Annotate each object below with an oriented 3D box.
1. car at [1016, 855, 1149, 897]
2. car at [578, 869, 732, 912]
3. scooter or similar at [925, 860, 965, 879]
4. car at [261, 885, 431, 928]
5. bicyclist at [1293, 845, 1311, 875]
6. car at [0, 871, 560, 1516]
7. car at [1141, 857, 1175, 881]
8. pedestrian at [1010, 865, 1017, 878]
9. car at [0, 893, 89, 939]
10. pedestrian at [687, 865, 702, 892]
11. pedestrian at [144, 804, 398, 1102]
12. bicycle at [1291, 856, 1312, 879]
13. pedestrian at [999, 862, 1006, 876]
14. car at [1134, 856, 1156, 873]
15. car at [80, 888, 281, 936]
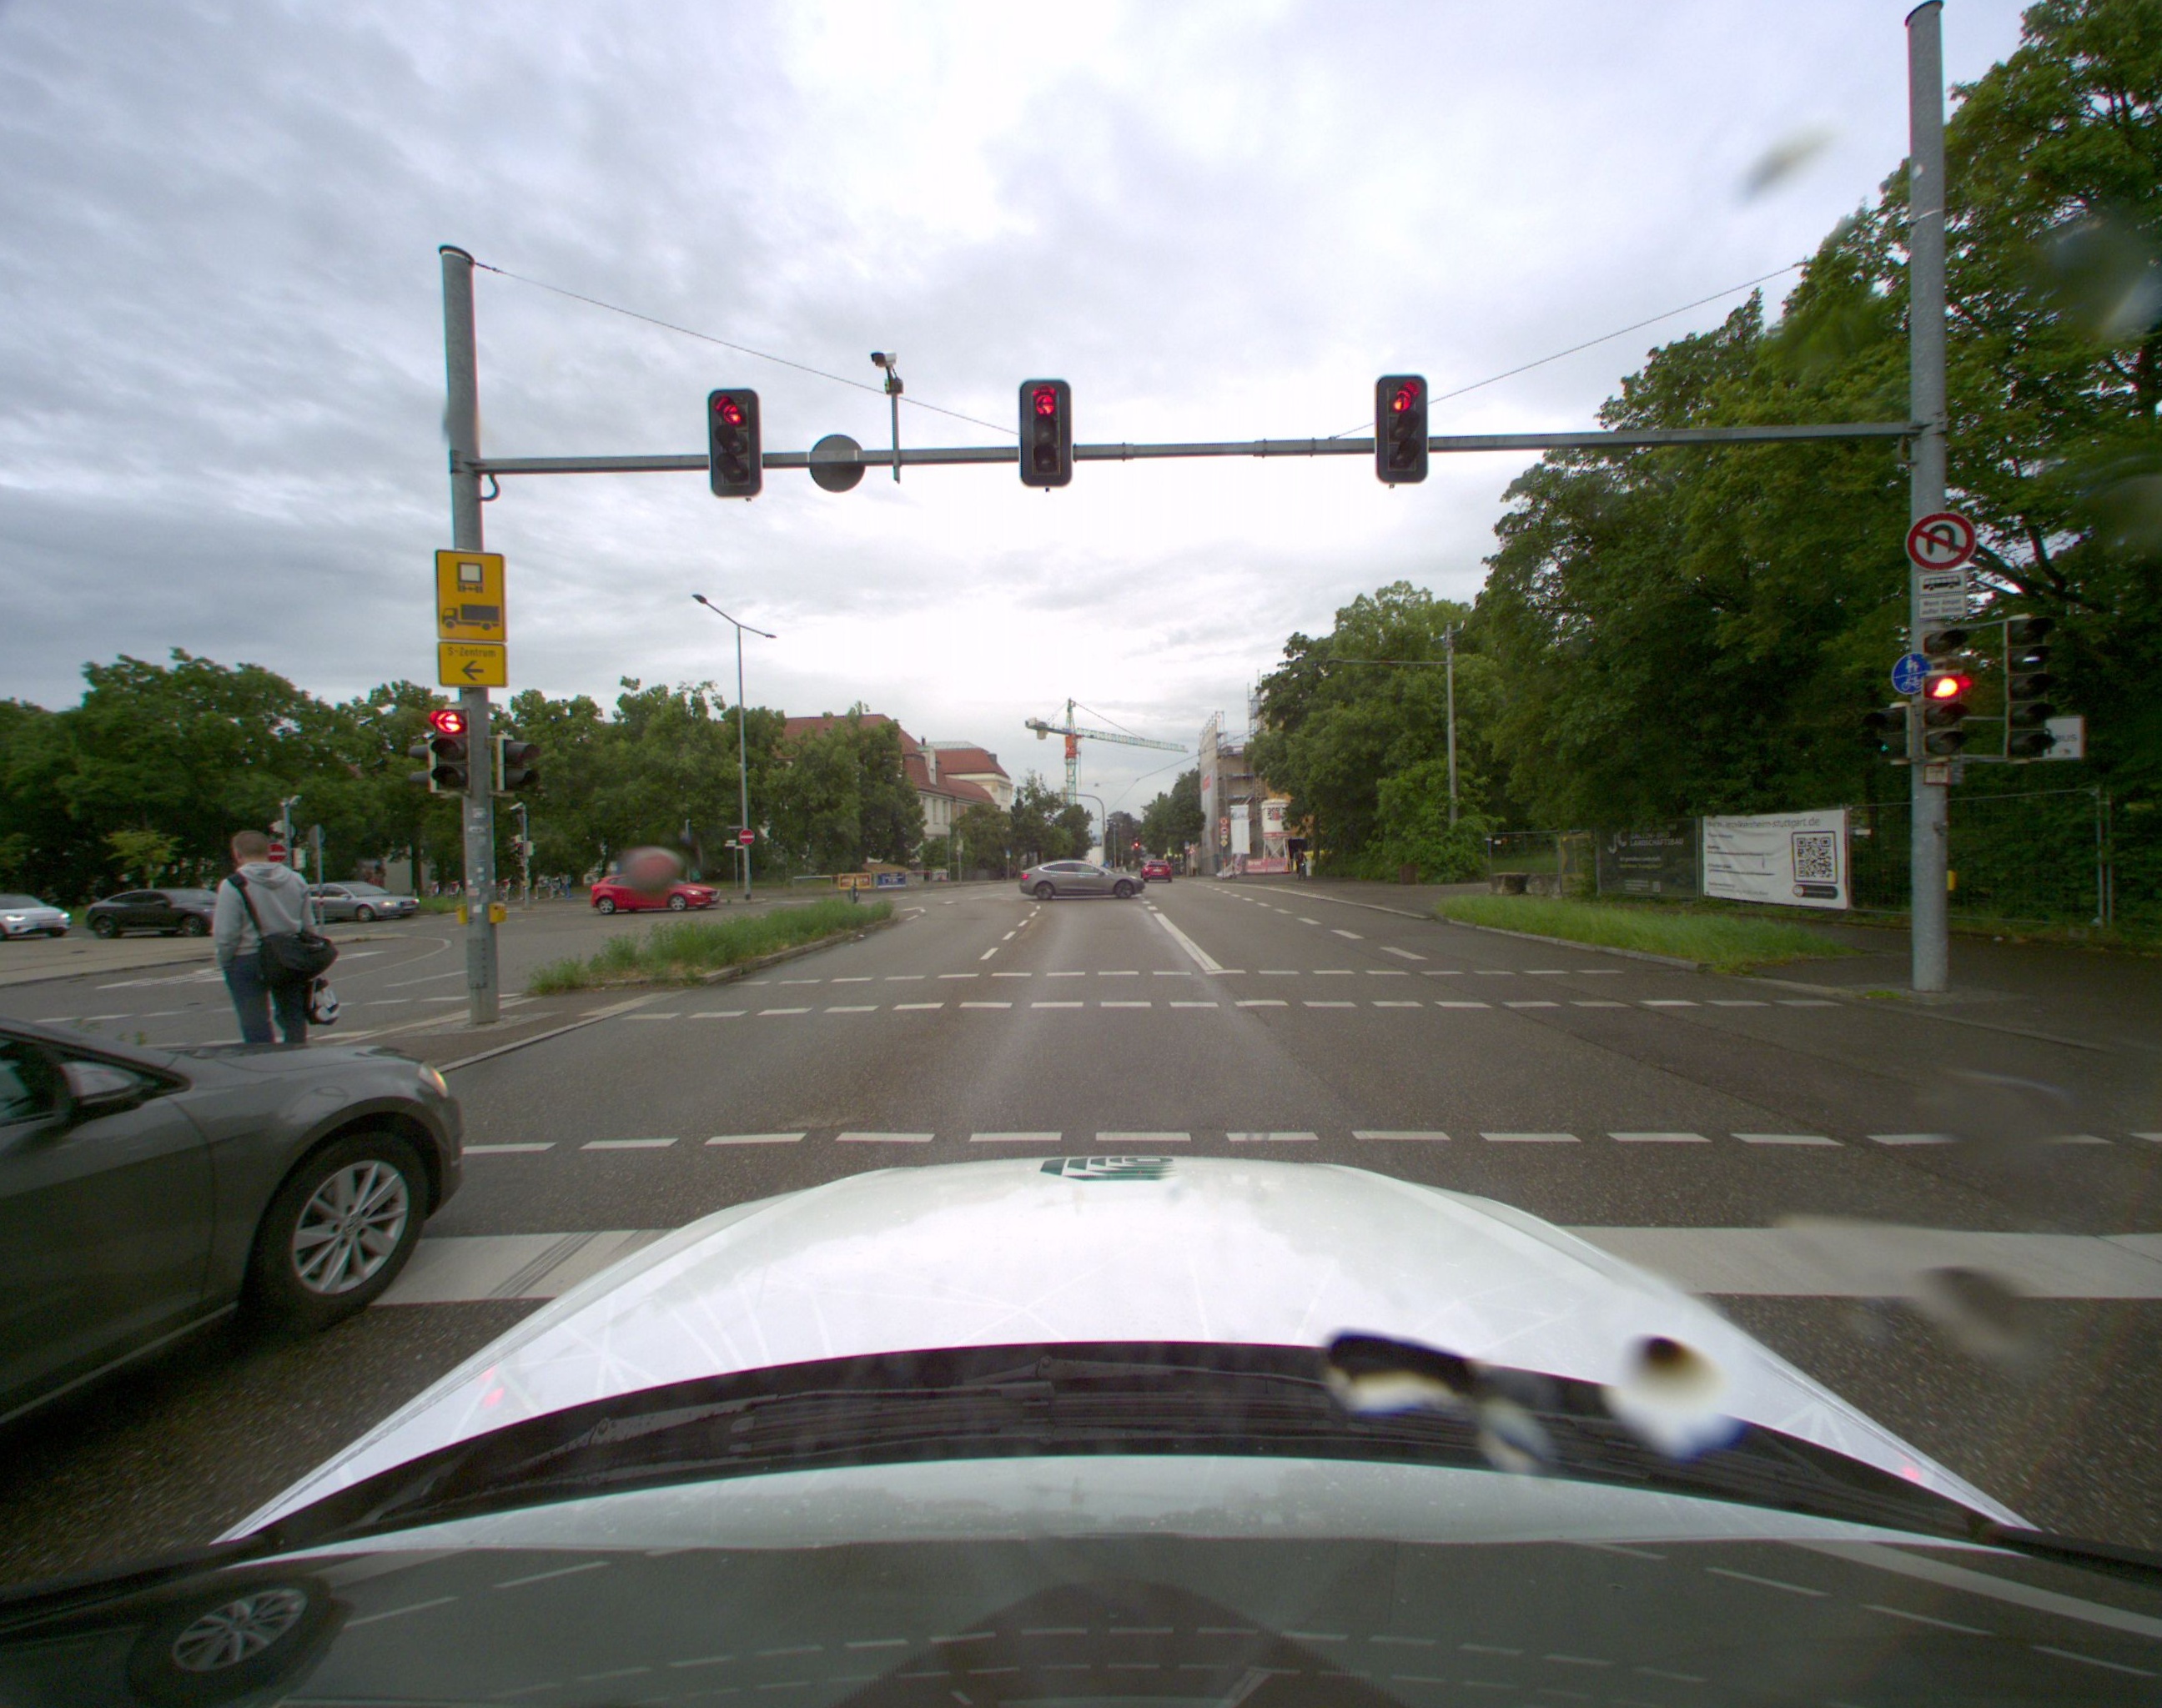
[{"bbox_3d":[0.042,0.792,30.246,4.757,1.425,1.999,-1,0,-2],"label":"car"},{"bbox_3d":[-15.453,1.299,29.701,4.510,1.425,2.000,-1,0,1],"label":"car"},{"bbox_3d":[-11.096,1.290,66.435,3.078,1.440,0.948,-2,0,-1],"label":"scooter or similar"},{"bbox_3d":[-27.616,1.966,30.711,4.512,1.425,1.999,-1,0,-1],"label":"car"},{"bbox_3d":[11.918,0.332,44.004,0.717,1.564,1.143,0,-2,3],"label":"bicyclist"},{"bbox_3d":[-3.399,0.839,1.634,1.798,1.429,4.199,-3,0,2],"label":"car"},{"bbox_3d":[5.002,0.953,52.230,1.982,1.425,4.529,-1,0,8],"label":"car"},{"bbox_3d":[-7.057,1.835,84.974,0.635,1.386,0.606,0,-2,0],"label":"pedestrian"},{"bbox_3d":[-36.685,2.108,27.618,3.761,1.425,1.845,-1,0,-1],"label":"car"},{"bbox_3d":[-21.852,1.370,46.068,0.619,1.490,0.768,-1,0,-15],"label":"pedestrian"},{"bbox_3d":[-5.979,0.693,6.066,0.935,2.013,0.848,-4,-1,6],"label":"pedestrian"},{"bbox_3d":[11.910,0.752,43.989,0.717,1.193,1.757,0,-2,3],"label":"bicycle"},{"bbox_3d":[-8.068,1.585,83.915,0.584,1.430,0.467,0,-2,2],"label":"pedestrian"},{"bbox_3d":[6.613,1.091,84.126,1.987,1.706,4.000,0,-2,1],"label":"car"},{"bbox_3d":[-30.000,1.908,27.254,4.432,1.425,1.999,-1,0,-1],"label":"car"}]
